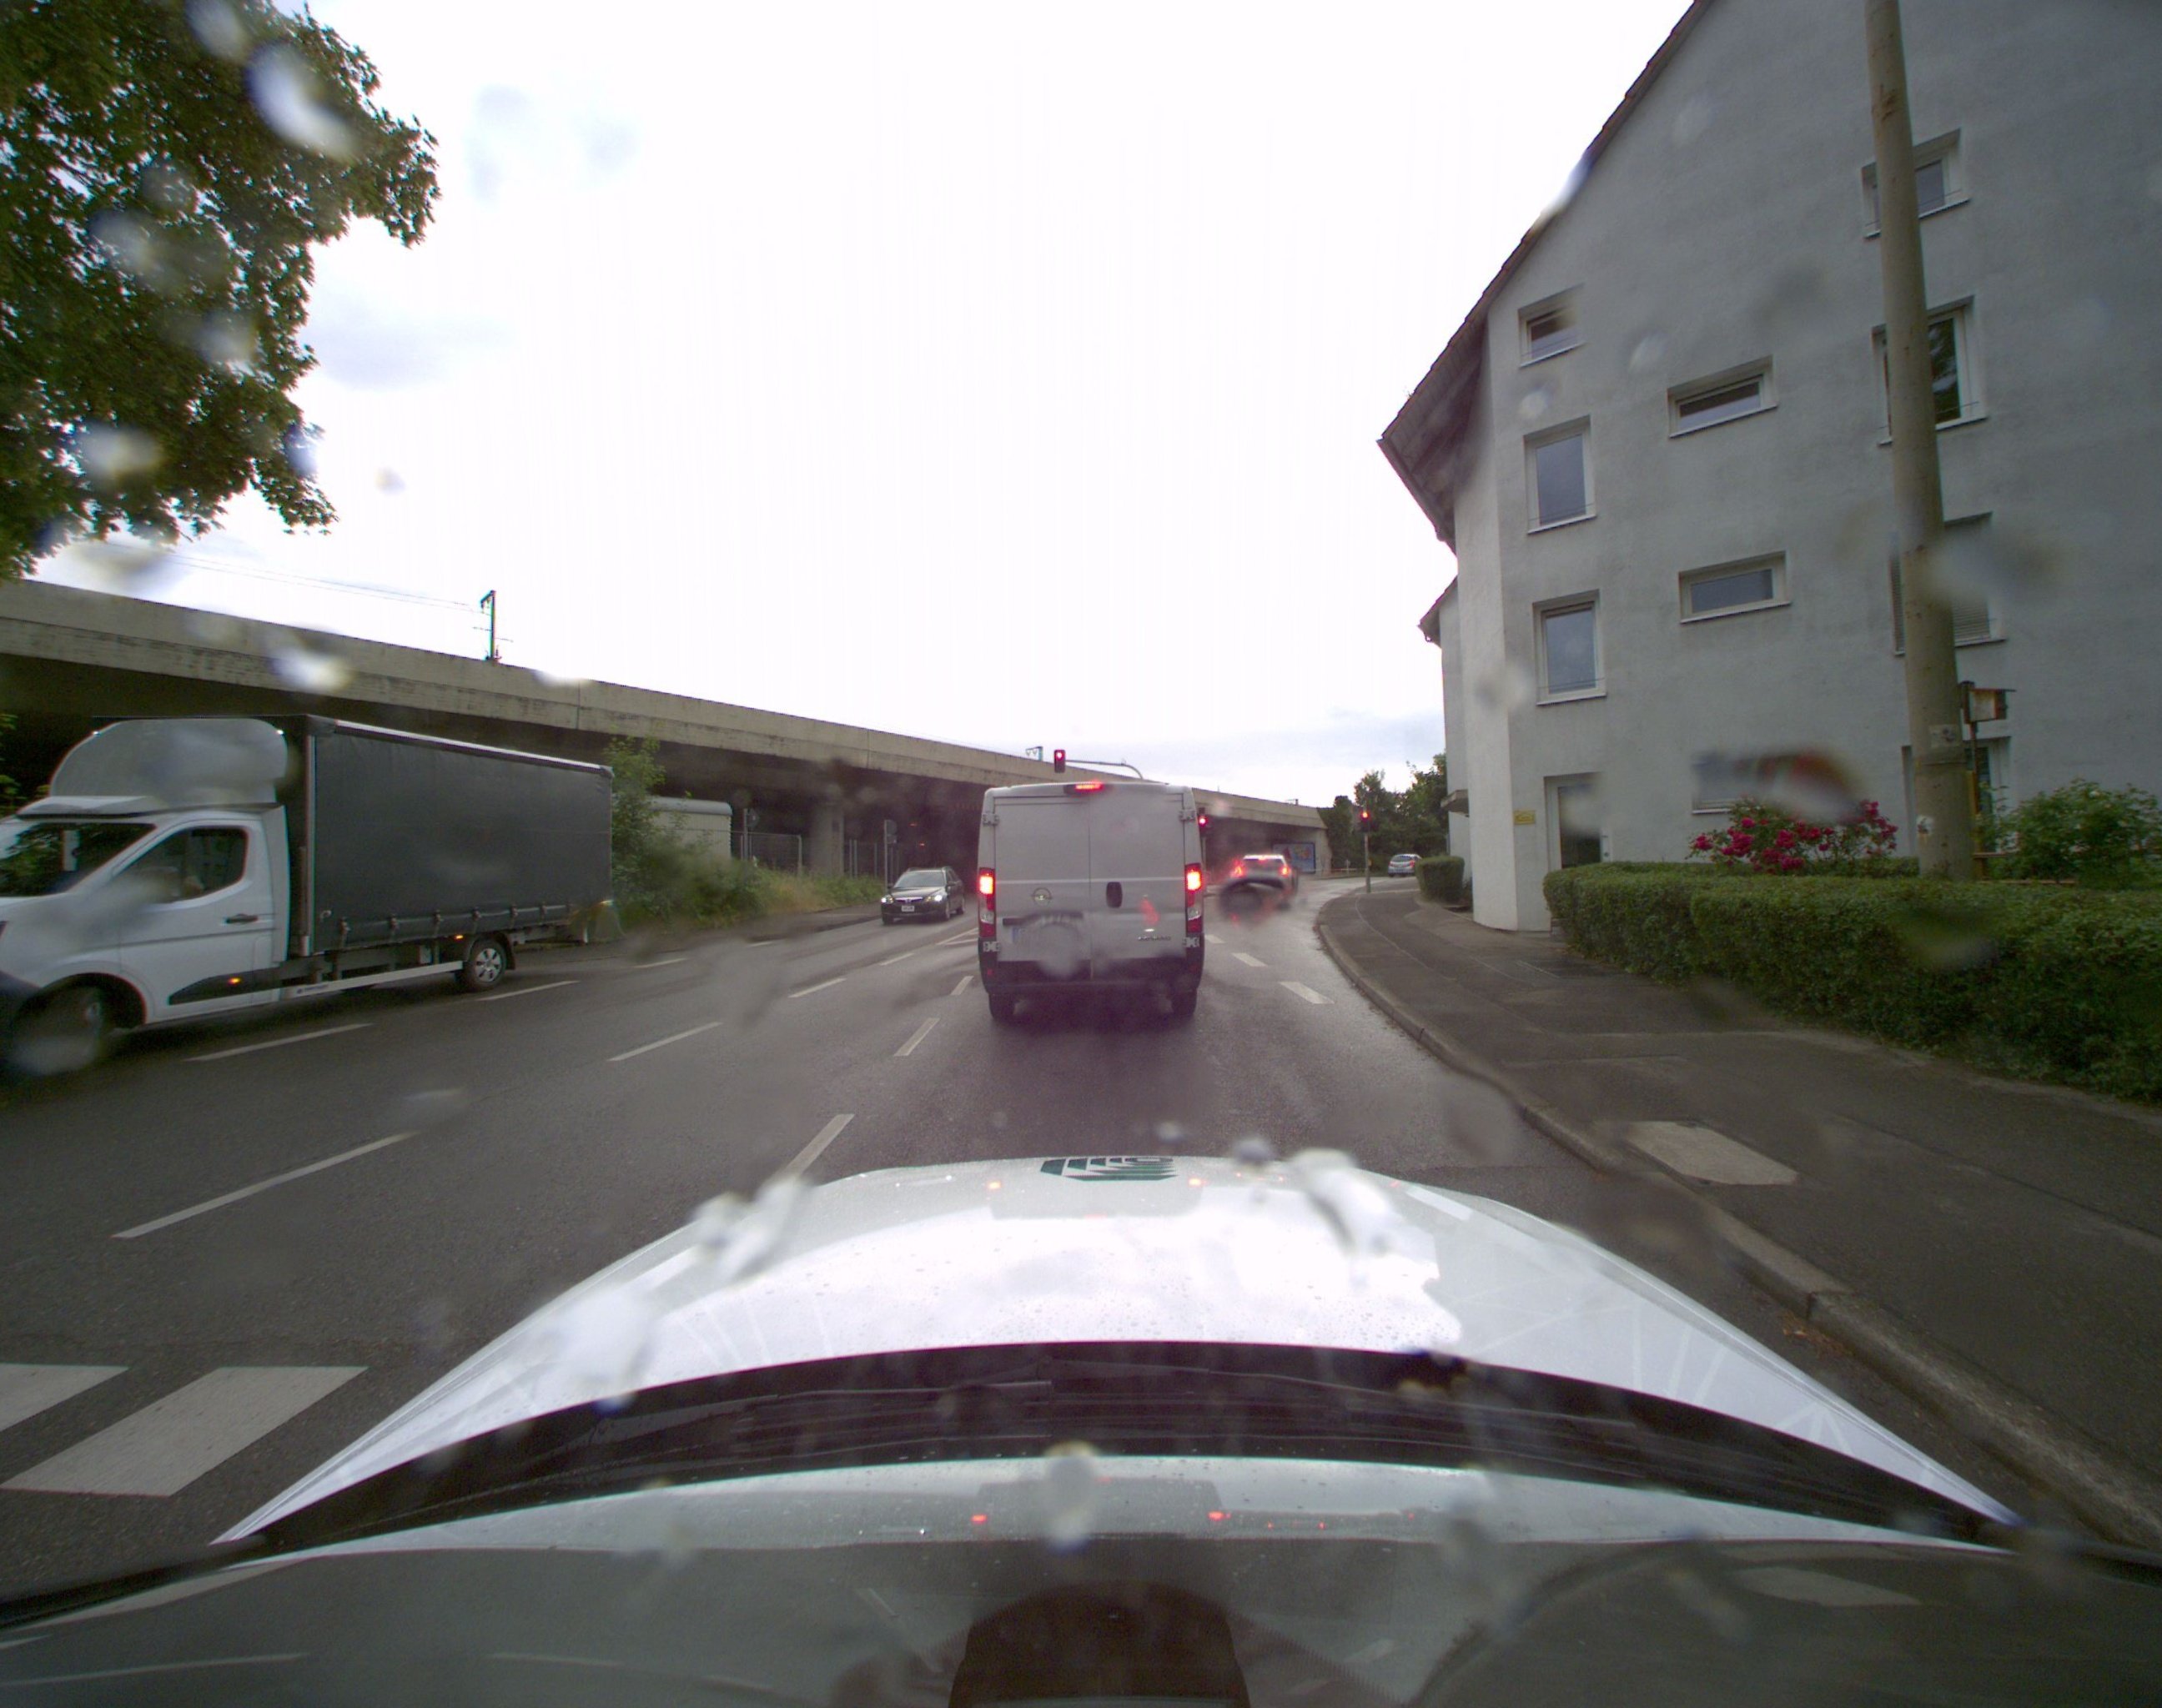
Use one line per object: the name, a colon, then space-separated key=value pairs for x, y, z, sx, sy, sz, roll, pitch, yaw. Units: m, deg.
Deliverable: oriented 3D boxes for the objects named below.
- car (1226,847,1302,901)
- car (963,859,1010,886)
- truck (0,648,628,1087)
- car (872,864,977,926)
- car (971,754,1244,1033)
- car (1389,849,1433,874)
car: x=5.832 y=0.640 z=25.606 sx=1.978 sy=1.549 sz=4.017 roll=-2 pitch=-2 yaw=17
car: x=-5.802 y=1.148 z=49.692 sx=2.000 sy=1.519 sz=3.973 roll=0 pitch=-2 yaw=-19
truck: x=-9.038 y=0.181 z=9.613 sx=2.599 sy=3.237 sz=7.783 roll=-1 pitch=-1 yaw=4
car: x=-4.371 y=1.094 z=23.485 sx=1.833 sy=1.569 sz=4.417 roll=-1 pitch=-1 yaw=4
car: x=0.324 y=0.359 z=9.652 sx=2.296 sy=2.343 sz=5.284 roll=-1 pitch=0 yaw=2
car: x=21.350 y=0.507 z=52.667 sx=1.974 sy=1.554 sz=4.025 roll=-2 pitch=-2 yaw=31
